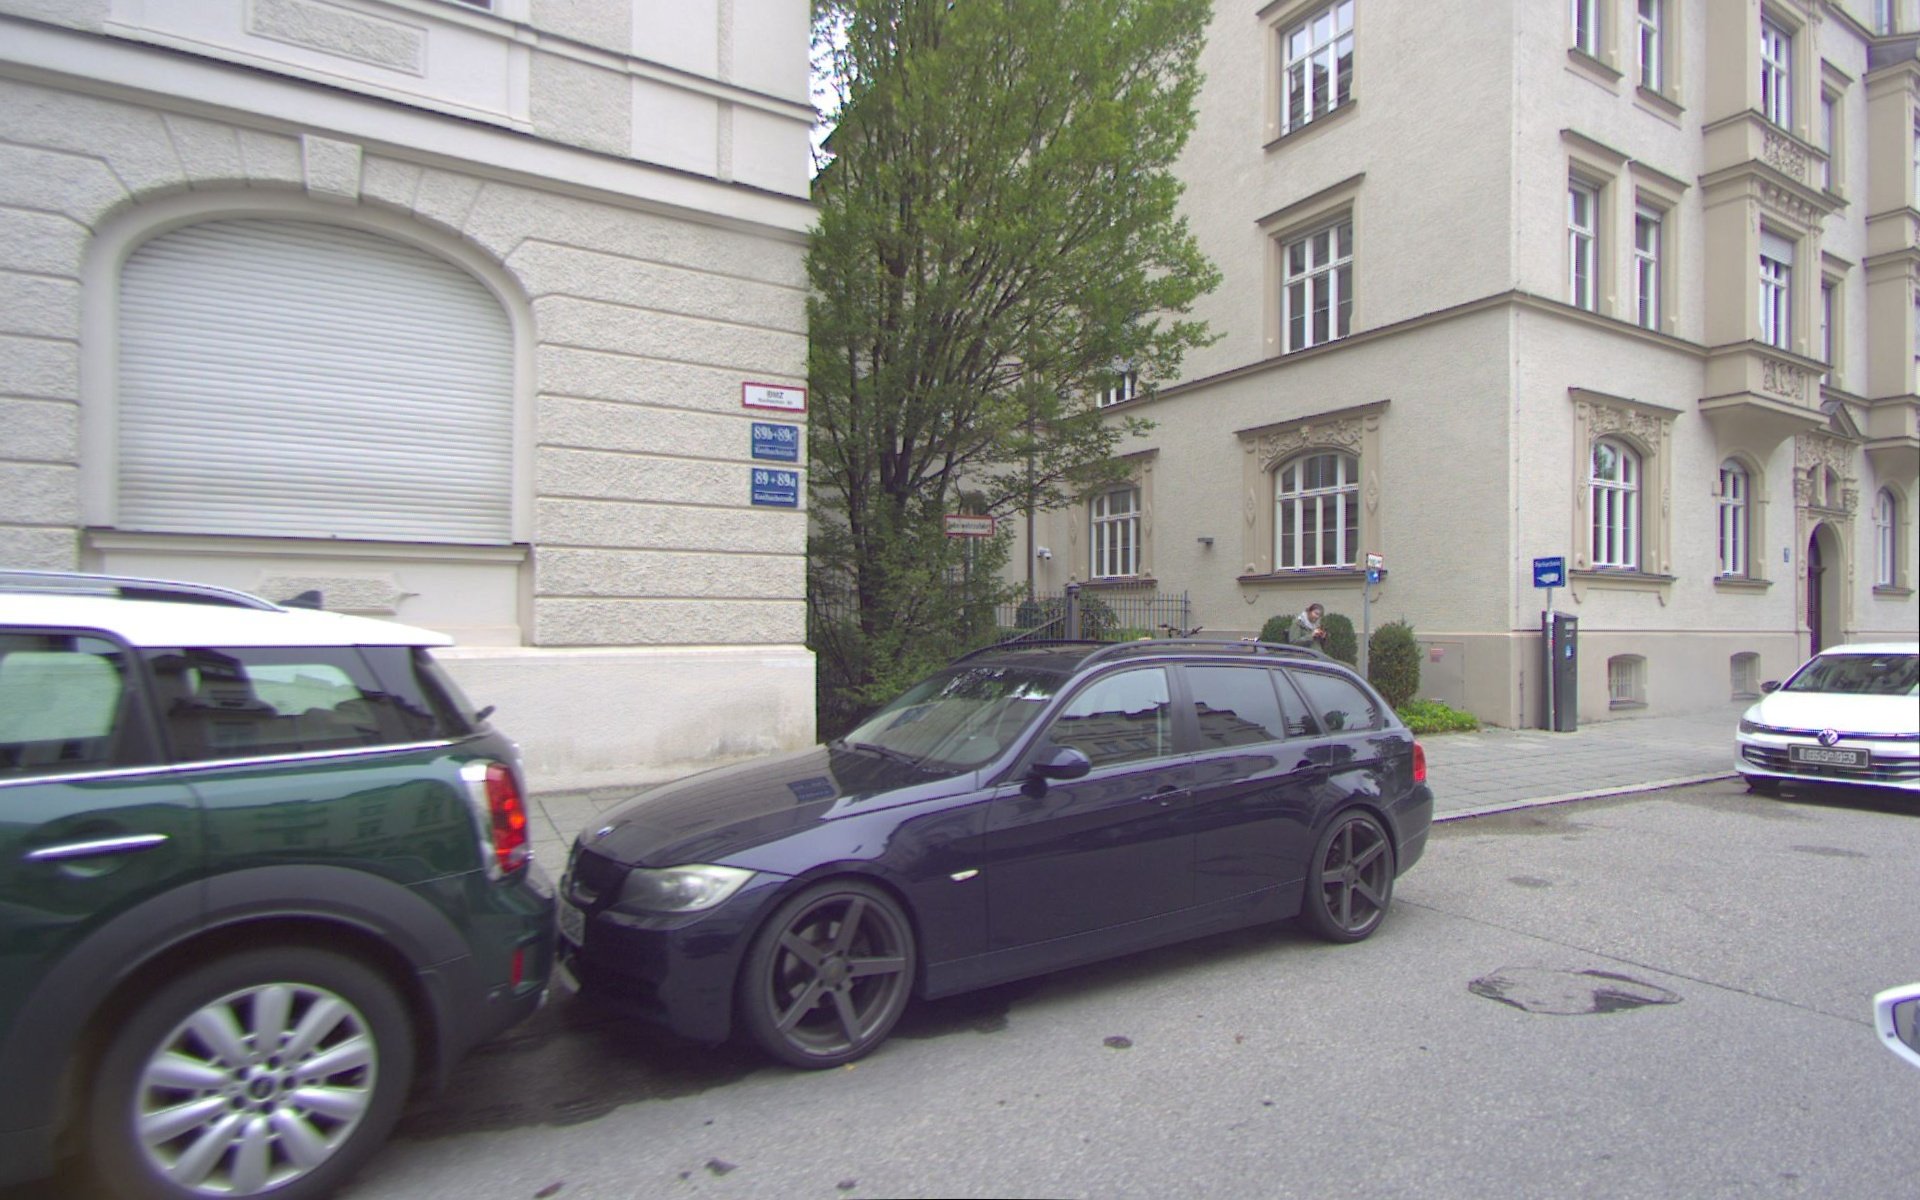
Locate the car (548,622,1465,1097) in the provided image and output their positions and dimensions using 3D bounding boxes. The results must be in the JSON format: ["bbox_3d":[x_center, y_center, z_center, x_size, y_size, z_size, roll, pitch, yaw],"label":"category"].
[{"bbox_3d":[0.397,0.840,4.987,4.317,1.431,1.778,1,0,-31],"label":"car"}]

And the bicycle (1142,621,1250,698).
[{"bbox_3d":[3.941,0.969,16.734,1.796,1.107,0.610,-3,4,-28],"label":"bicycle"}]

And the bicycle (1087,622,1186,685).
[{"bbox_3d":[3.207,0.945,18.179,1.809,1.011,0.551,-2,1,-29],"label":"bicycle"}]

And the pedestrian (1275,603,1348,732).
[{"bbox_3d":[4.647,0.866,13.286,0.624,1.648,0.669,1,-1,-33],"label":"pedestrian"}]

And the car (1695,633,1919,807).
[{"bbox_3d":[9.546,1.081,10.307,4.198,1.453,1.826,1,-2,-32],"label":"car"}]

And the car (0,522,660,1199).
[{"bbox_3d":[-3.135,0.645,2.635,4.196,1.640,1.827,1,0,-31],"label":"car"}]

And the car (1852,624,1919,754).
[{"bbox_3d":[13.404,1.067,12.907,4.337,1.538,1.761,1,-3,-33],"label":"car"}]

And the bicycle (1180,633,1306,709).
[{"bbox_3d":[4.420,1.080,15.654,1.983,0.973,0.691,-2,4,-28],"label":"bicycle"}]

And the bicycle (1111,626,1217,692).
[{"bbox_3d":[3.570,1.001,17.508,1.883,1.017,0.582,-1,2,-29],"label":"bicycle"}]
